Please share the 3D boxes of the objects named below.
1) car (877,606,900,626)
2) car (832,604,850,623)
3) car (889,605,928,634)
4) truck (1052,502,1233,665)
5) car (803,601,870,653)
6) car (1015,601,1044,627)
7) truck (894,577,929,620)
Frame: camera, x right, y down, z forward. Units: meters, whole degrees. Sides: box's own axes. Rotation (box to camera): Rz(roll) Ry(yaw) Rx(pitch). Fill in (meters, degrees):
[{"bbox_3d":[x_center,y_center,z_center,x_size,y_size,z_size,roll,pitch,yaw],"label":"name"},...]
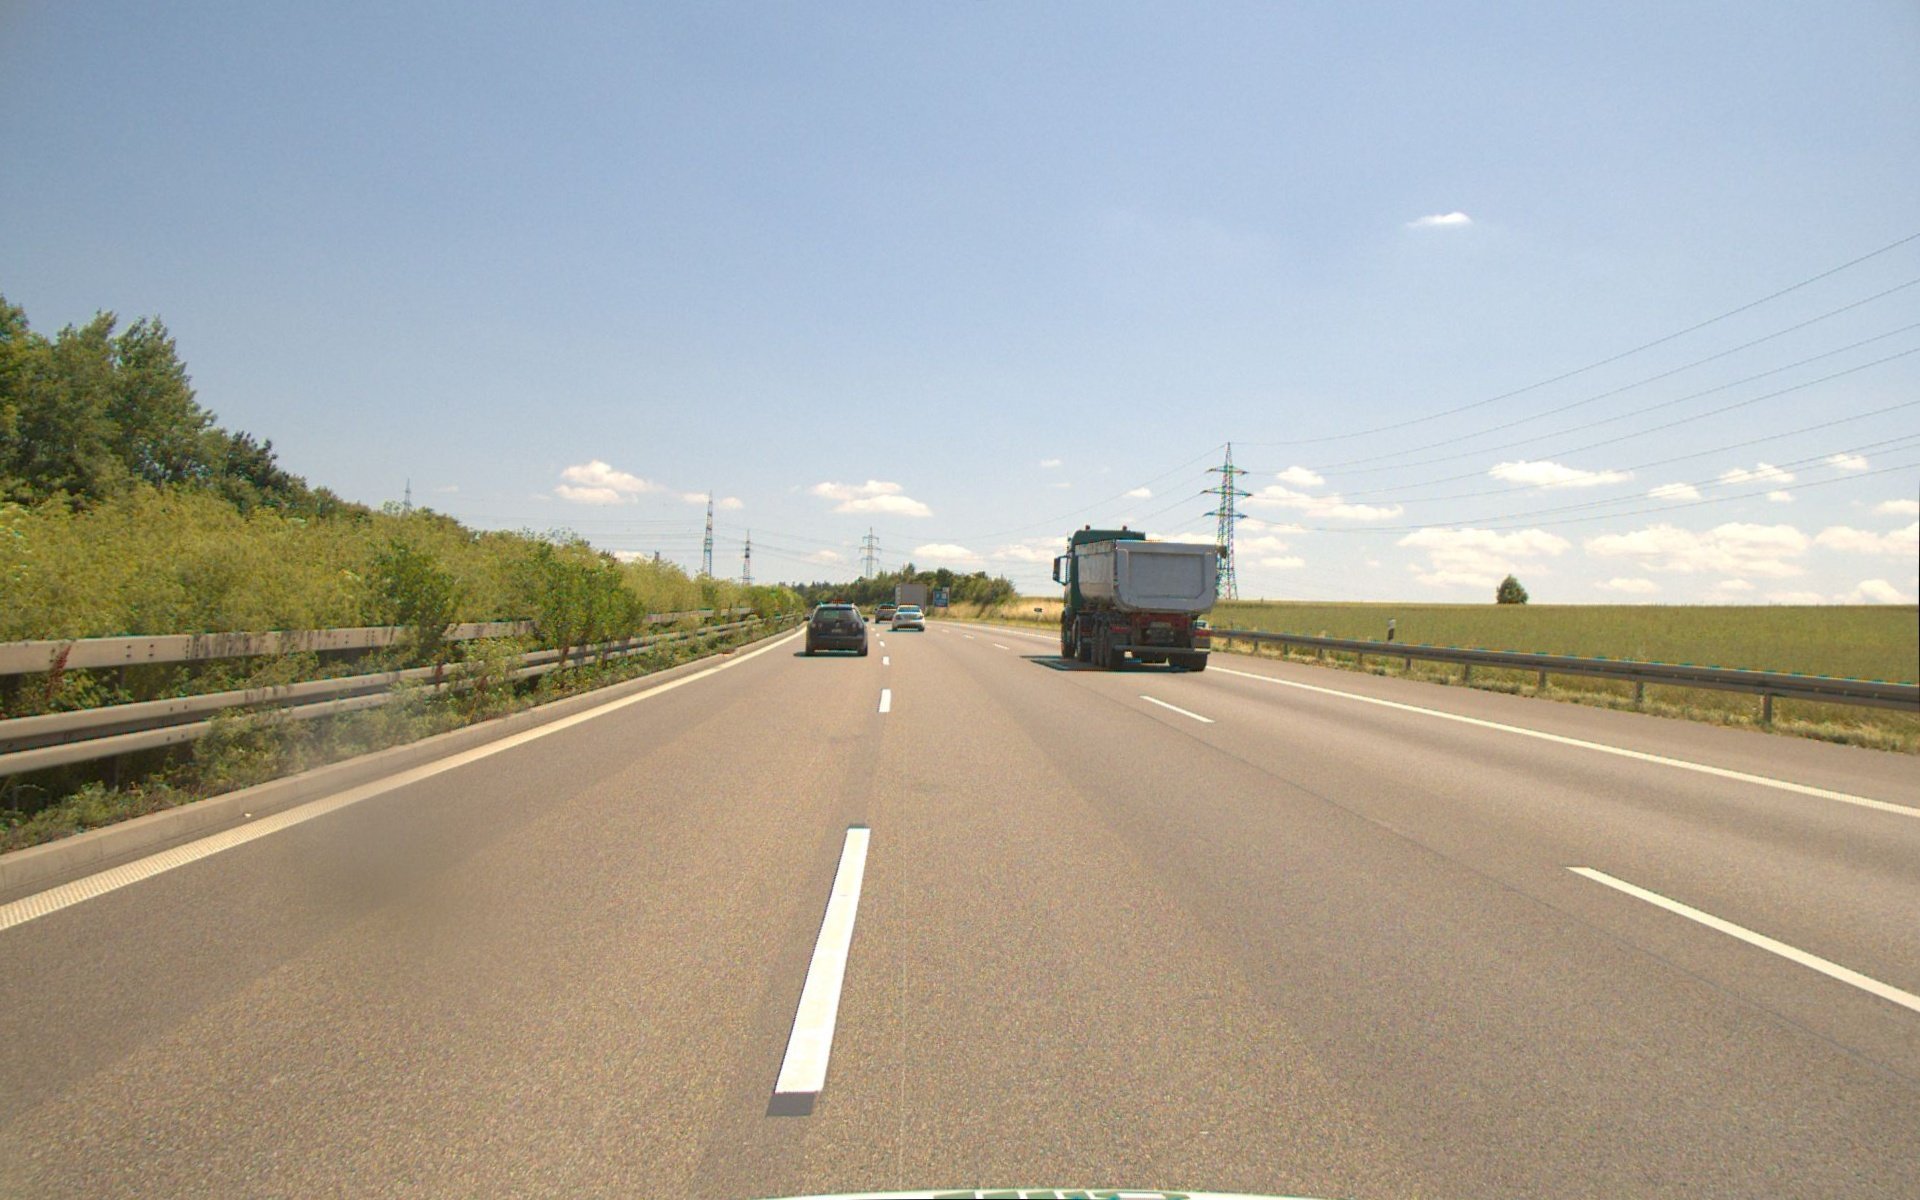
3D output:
[{"bbox_3d":[-5.814,1.285,133.796,1.802,1.568,3.912,1,0,-3],"label":"car"},{"bbox_3d":[-12.638,1.458,174.976,1.864,1.959,3.996,1,0,-5],"label":"car"},{"bbox_3d":[-2.944,1.099,93.344,1.786,1.568,3.907,1,0,-8],"label":"car"},{"bbox_3d":[4.608,-0.360,44.949,2.808,3.789,12.754,0,0,-3],"label":"truck"},{"bbox_3d":[-3.546,0.758,48.004,1.721,1.454,3.999,0,0,-1],"label":"car"},{"bbox_3d":[5.066,1.027,121.526,1.953,1.885,3.999,0,0,0],"label":"car"},{"bbox_3d":[-4.808,-0.101,162.858,3.157,3.993,9.053,1,-1,-3],"label":"truck"}]
